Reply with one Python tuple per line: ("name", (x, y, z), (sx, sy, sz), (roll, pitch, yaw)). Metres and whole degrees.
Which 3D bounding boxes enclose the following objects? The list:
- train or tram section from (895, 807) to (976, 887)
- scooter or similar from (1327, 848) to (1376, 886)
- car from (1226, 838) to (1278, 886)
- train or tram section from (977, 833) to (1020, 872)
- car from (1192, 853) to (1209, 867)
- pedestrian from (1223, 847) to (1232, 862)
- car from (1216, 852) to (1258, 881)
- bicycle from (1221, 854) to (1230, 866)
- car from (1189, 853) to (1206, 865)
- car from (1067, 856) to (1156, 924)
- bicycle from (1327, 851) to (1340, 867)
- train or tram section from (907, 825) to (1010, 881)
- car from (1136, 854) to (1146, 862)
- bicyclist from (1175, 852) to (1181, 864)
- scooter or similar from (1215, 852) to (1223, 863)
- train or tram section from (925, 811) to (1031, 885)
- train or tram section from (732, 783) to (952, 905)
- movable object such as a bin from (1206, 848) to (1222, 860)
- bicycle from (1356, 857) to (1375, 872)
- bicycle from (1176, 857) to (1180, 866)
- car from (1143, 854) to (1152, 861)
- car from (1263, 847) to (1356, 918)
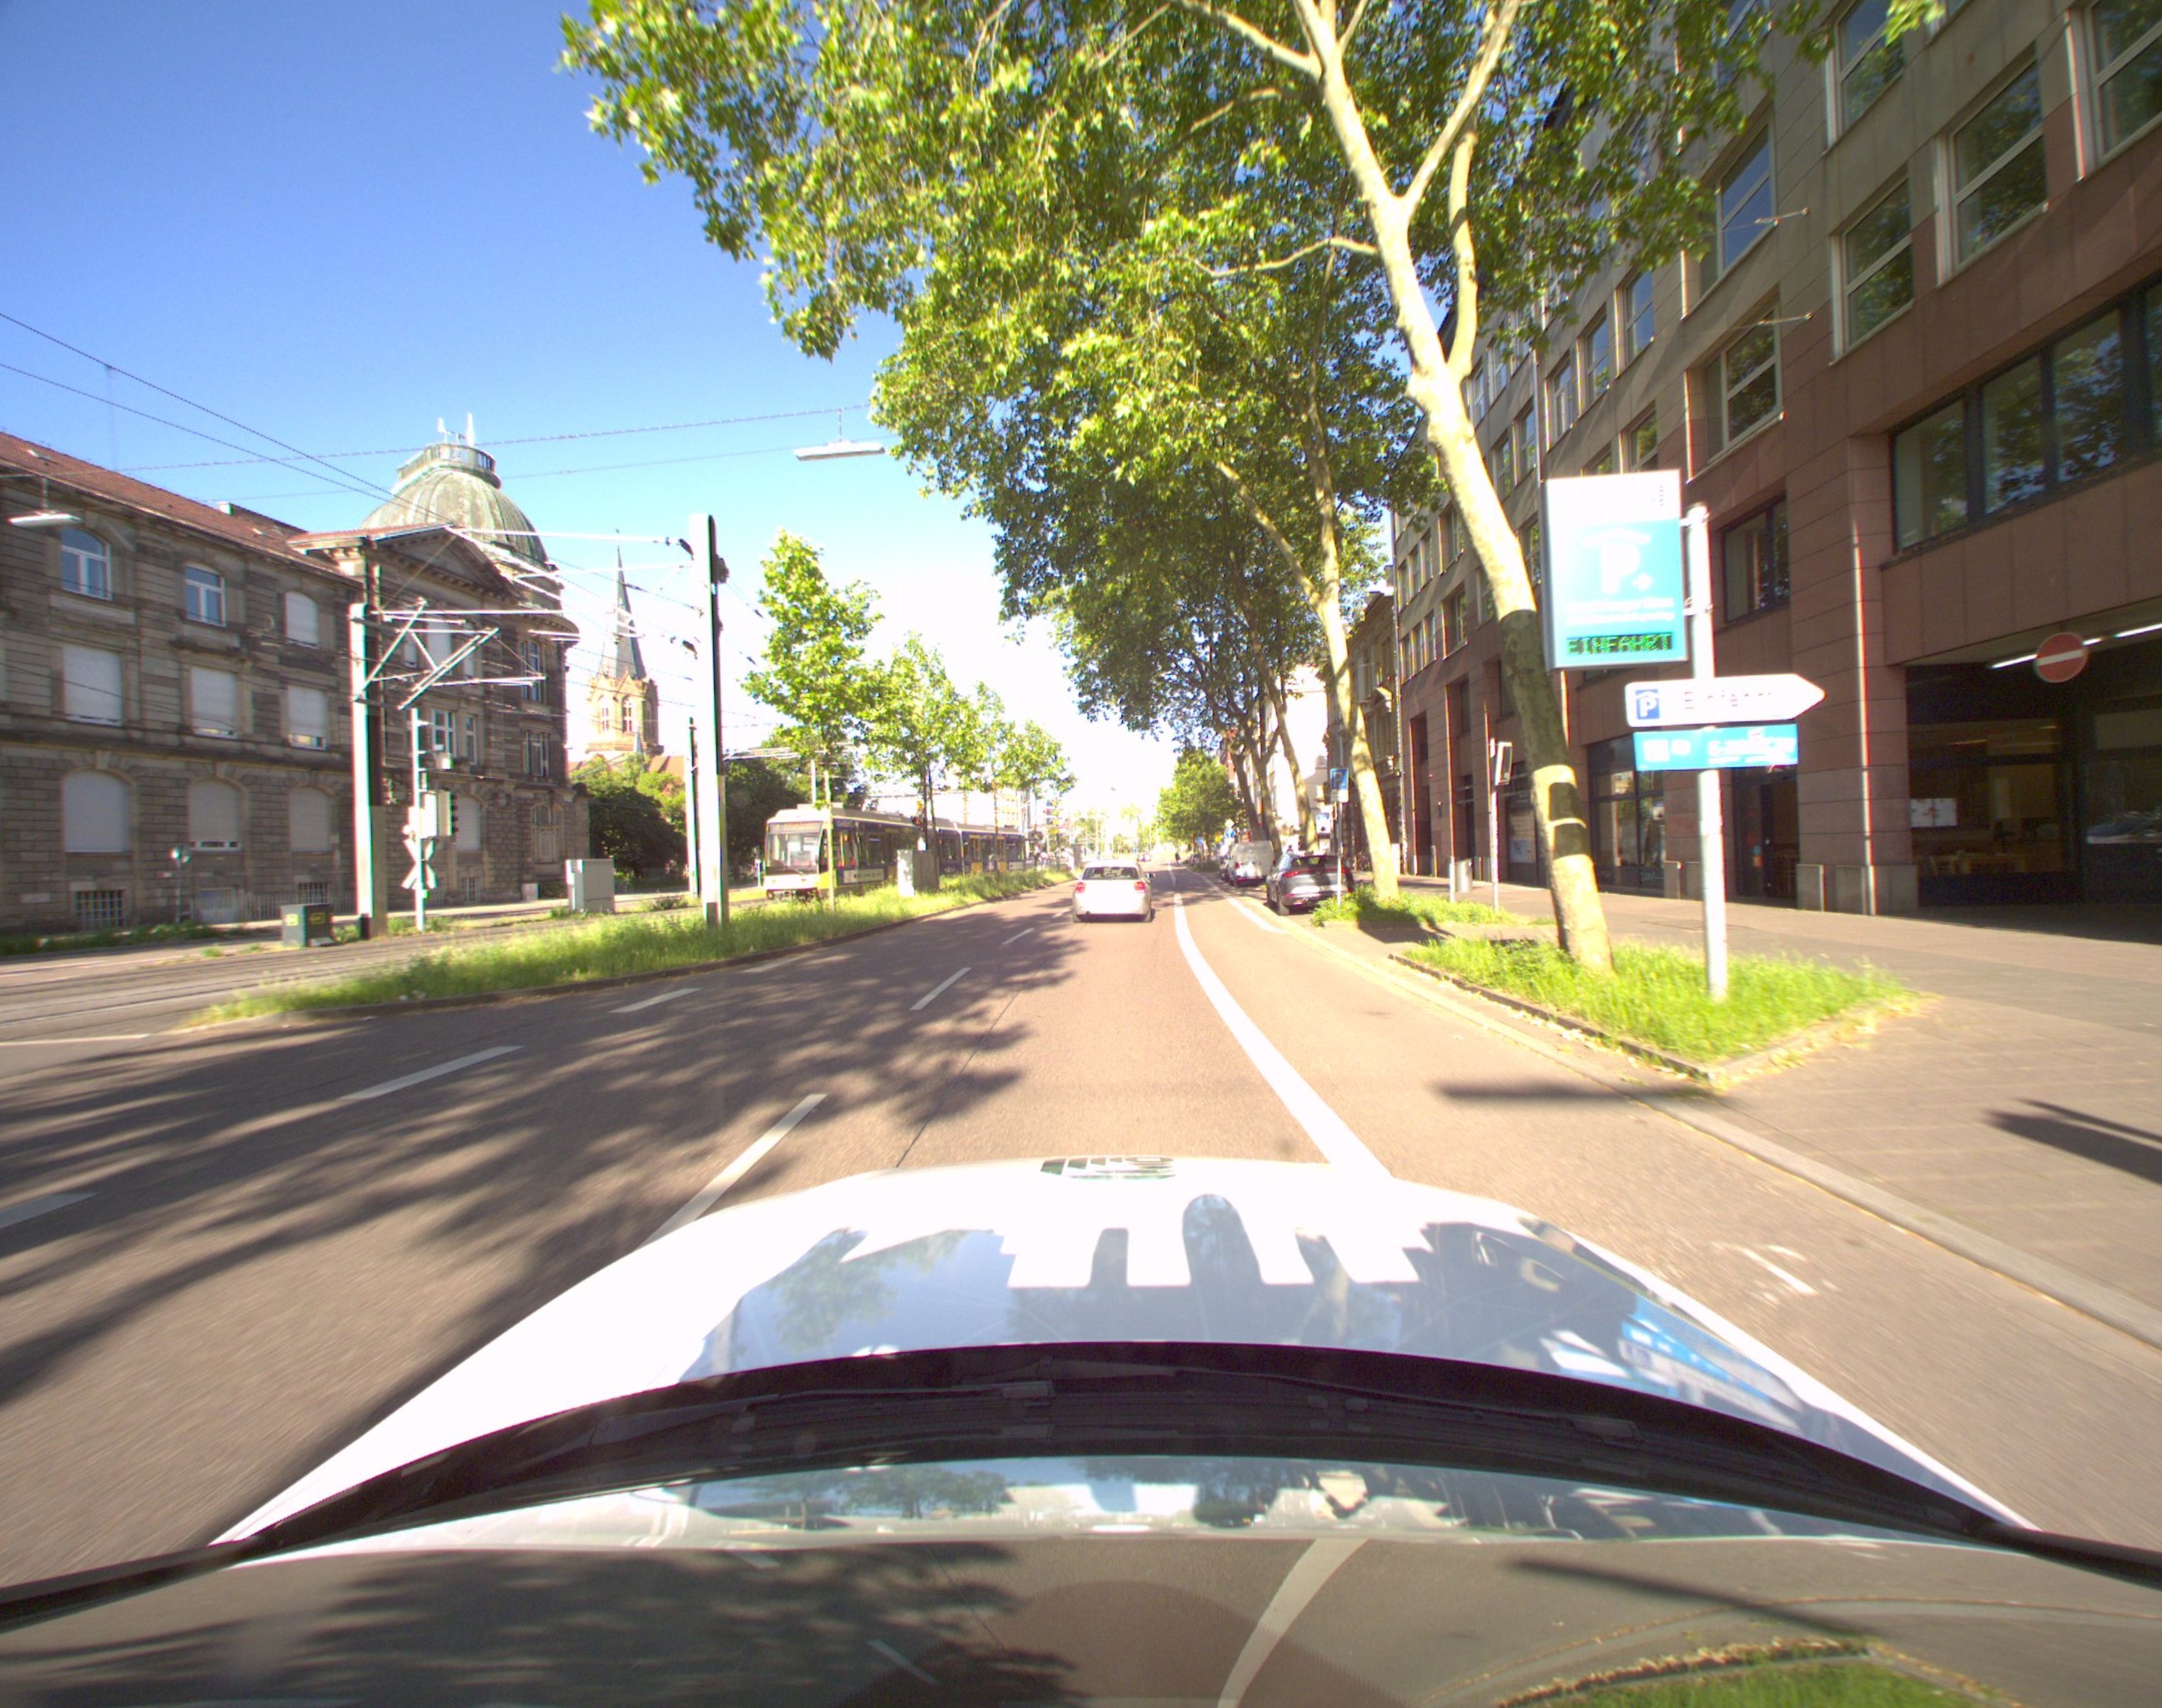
("train or tram section", (-7.378, -0.324, 41.795), (2.937, 3.897, 3.876), (0, 0, 10))
("scooter or similar", (9.338, 0.454, 28.135), (1.532, 1.237, 0.450), (-2, 0, 6))
("car", (7.631, 0.351, 36.677), (1.847, 2.014, 4.732), (0, 0, 6))
("train or tram section", (-7.567, -0.159, 75.520), (2.943, 3.483, 6.066), (-1, 0, 4))
("car", (13.915, 0.698, 95.239), (1.686, 1.502, 3.808), (-4, 0, 6))
("pedestrian", (16.464, 0.052, 91.277), (0.855, 1.705, 0.917), (-2, -1, 3))
("car", (8.505, 0.663, 44.700), (1.809, 1.515, 4.714), (0, 0, 5))
("bicycle", (15.544, 0.673, 87.361), (0.382, 1.207, 1.885), (-2, 0, 28))
("car", (14.688, 0.630, 102.941), (2.028, 1.509, 4.601), (-2, 0, 6))
("car", (0.843, 0.790, 19.638), (1.788, 1.415, 4.007), (-2, 0, 6))
("bicycle", (16.166, 0.344, 52.236), (0.412, 0.997, 1.885), (-1, 0, 6))
("train or tram section", (-8.606, -0.101, 61.781), (2.950, 3.483, 21.244), (-1, 0, 5))
("car", (11.208, 0.742, 151.712), (1.719, 1.470, 4.414), (-1, 0, 4))
("bicyclist", (11.919, 0.519, 100.122), (0.781, 1.531, 0.896), (0, 0, 6))
("scooter or similar", (14.990, 0.387, 88.658), (0.375, 1.196, 1.584), (-2, 0, 26))
("train or tram section", (-5.872, -0.304, 48.997), (2.933, 3.897, 10.837), (0, 0, 12))
("train or tram section", (-8.692, -0.298, 32.822), (2.912, 3.812, 14.303), (0, 0, 8))
("movable object such as a bin", (21.463, 0.014, 131.688), (1.939, 1.843, 3.480), (-2, 1, 0))
("bicycle", (15.646, 0.583, 44.800), (0.546, 0.773, 1.665), (-3, -1, 6))
("bicycle", (11.927, 0.919, 99.997), (0.497, 1.088, 2.000), (0, 0, 6))
("car", (13.123, 0.729, 159.742), (1.636, 1.421, 4.007), (-1, 0, 6))
("car", (5.601, 0.642, 20.402), (1.659, 1.570, 4.289), (0, 0, 7))
